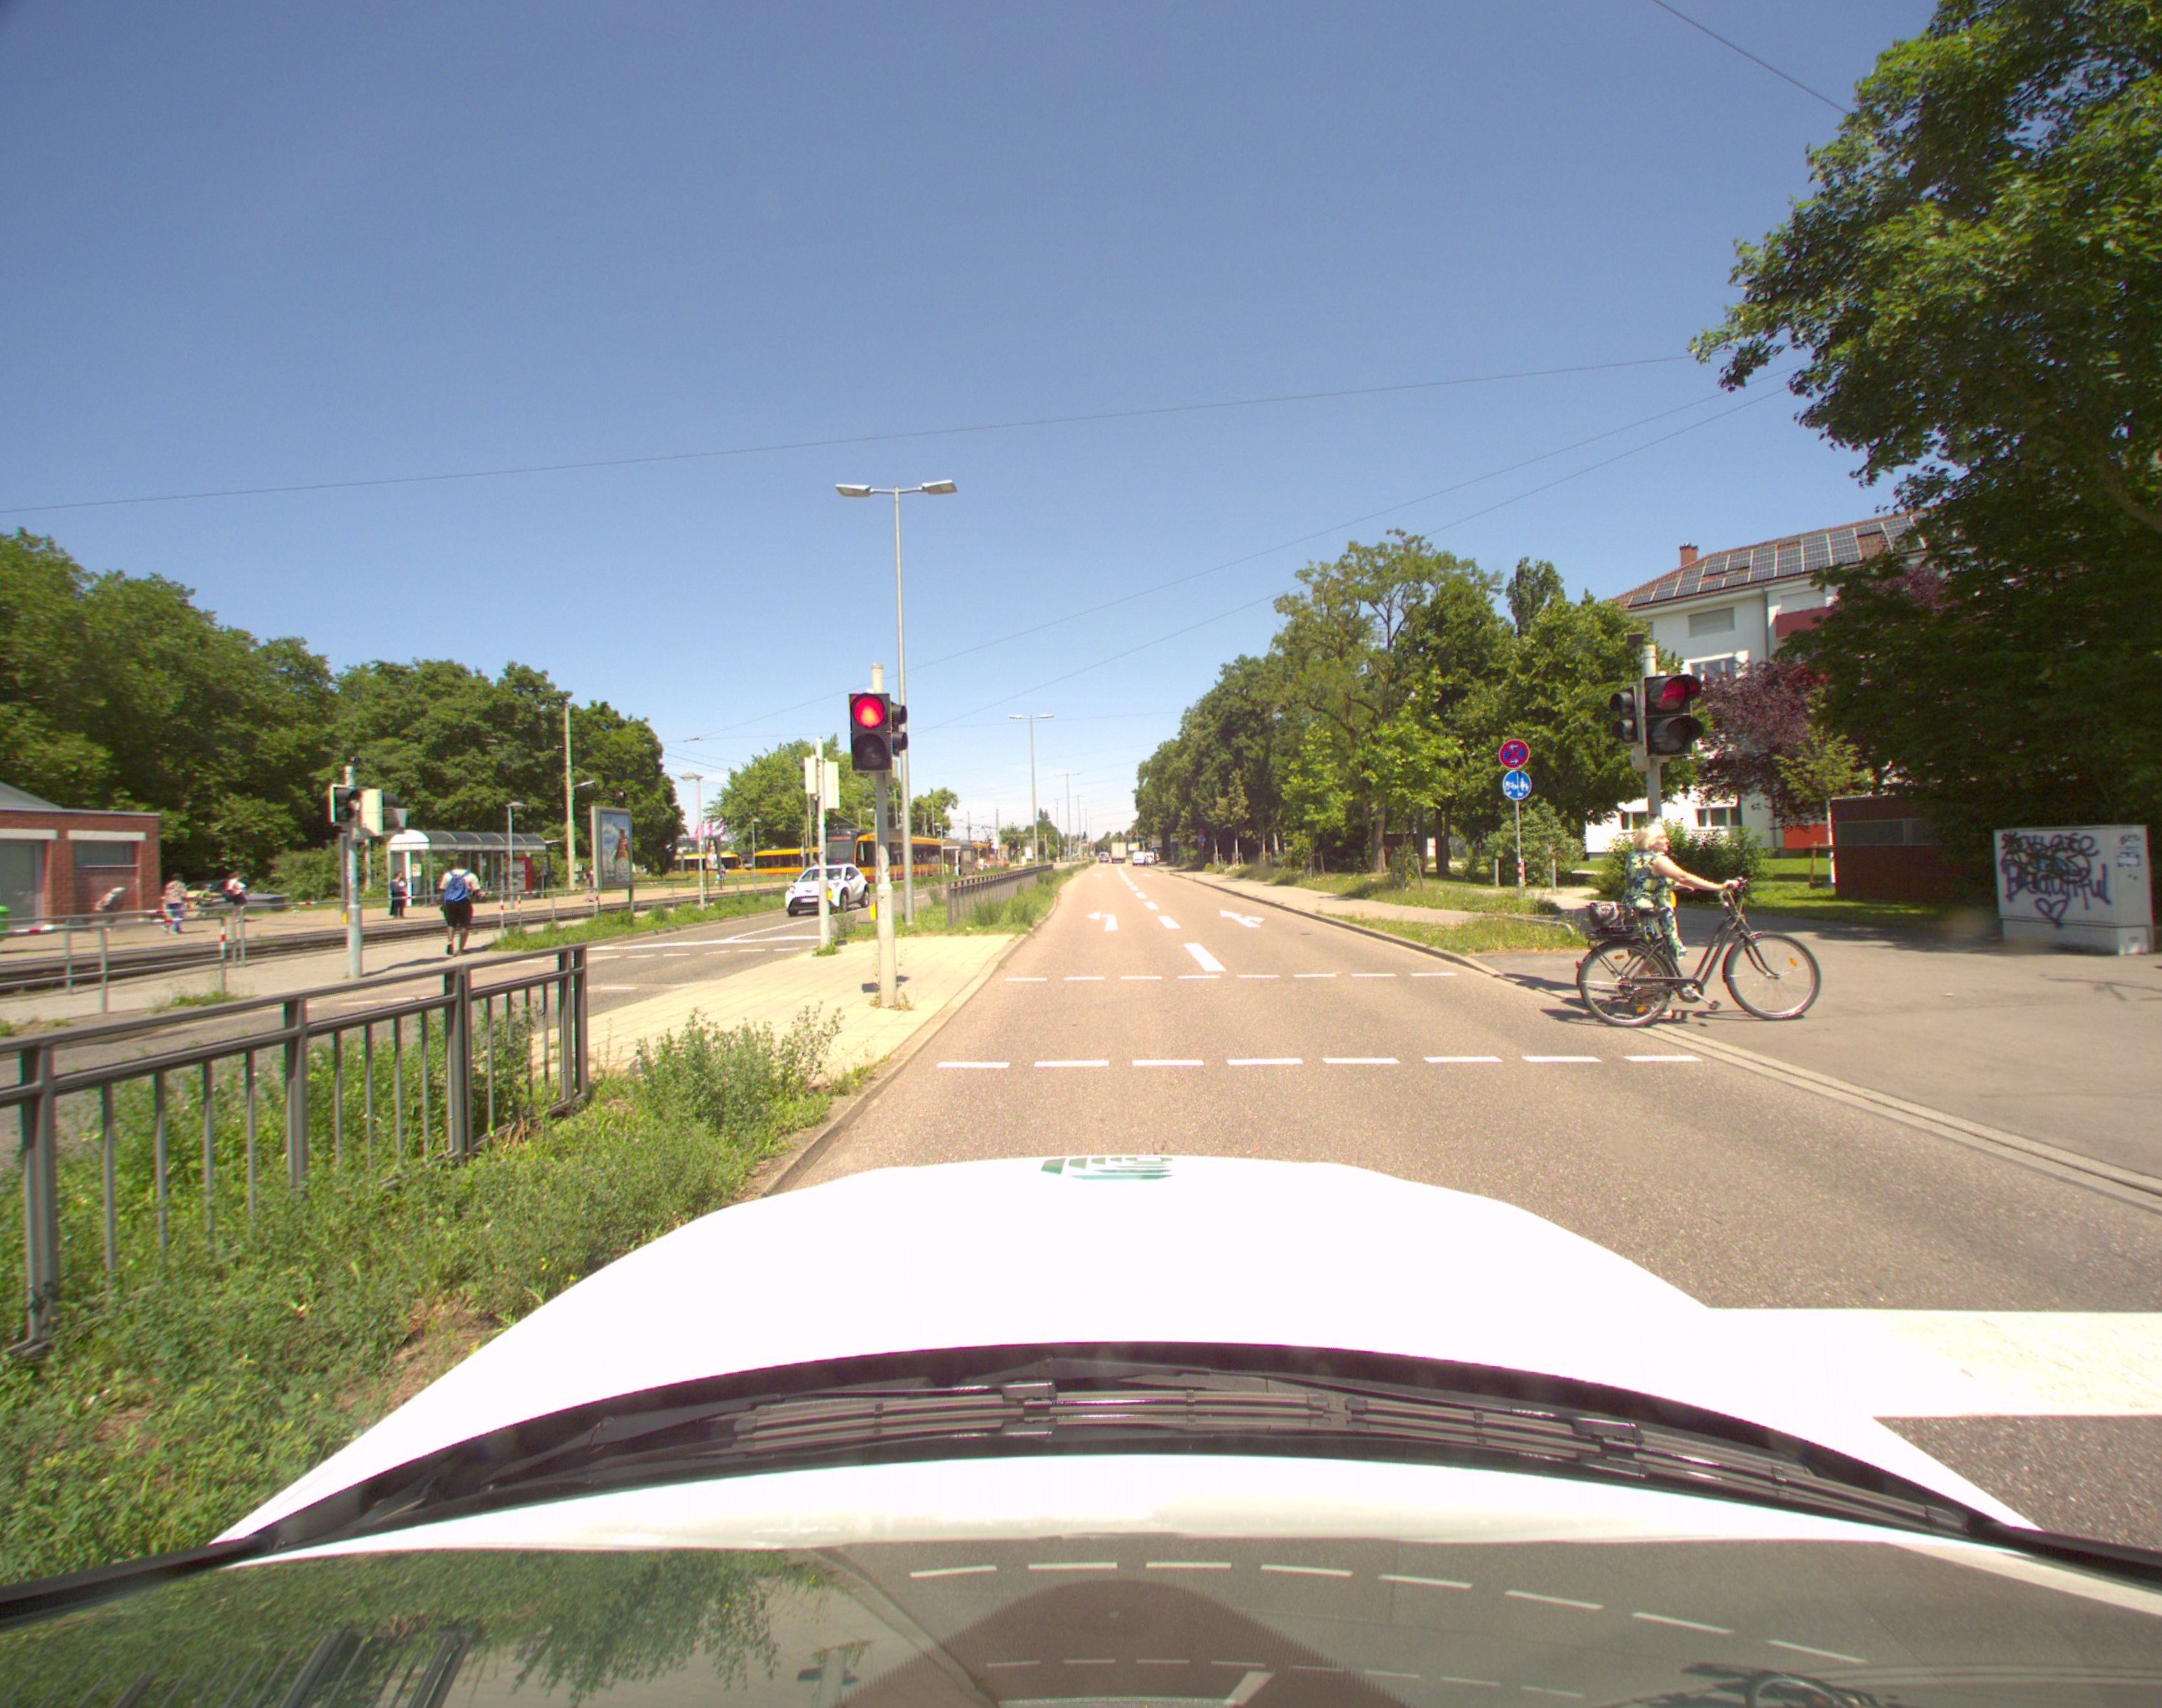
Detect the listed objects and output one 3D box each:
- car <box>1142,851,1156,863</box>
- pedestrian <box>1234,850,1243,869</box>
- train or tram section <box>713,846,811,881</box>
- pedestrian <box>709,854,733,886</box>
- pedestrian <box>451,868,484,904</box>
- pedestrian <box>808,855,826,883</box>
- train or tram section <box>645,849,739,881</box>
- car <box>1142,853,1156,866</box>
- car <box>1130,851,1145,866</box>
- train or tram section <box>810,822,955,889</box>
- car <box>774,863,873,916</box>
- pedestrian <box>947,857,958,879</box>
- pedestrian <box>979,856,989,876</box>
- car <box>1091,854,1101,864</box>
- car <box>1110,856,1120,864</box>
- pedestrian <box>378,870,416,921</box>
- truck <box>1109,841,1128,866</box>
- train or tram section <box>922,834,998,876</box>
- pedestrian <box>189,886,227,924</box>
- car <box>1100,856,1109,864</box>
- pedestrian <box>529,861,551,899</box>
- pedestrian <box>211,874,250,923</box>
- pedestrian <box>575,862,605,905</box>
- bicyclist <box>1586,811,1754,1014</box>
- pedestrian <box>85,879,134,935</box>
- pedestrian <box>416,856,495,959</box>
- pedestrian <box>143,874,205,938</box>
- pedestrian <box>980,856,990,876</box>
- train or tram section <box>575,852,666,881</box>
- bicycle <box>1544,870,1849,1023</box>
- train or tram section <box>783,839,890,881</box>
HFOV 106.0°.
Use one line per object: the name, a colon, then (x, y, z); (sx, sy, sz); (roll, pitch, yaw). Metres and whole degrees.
car: (9.895, 0.460, 118.762); (1.773, 1.668, 4.002); (-2, 0, 2)
pedestrian: (12.459, 0.426, 64.376); (0.600, 1.438, 0.557); (-2, 0, 8)
train or tram section: (-39.030, 1.279, 98.791); (18.264, 3.931, 3.246); (-2, 0, 42)
pedestrian: (-22.743, 0.998, 51.419); (0.977, 2.013, 1.021); (-2, 0, 1)
pedestrian: (-26.285, 1.375, 34.892); (0.836, 1.511, 0.723); (-2, 0, 12)
pedestrian: (-19.672, 1.105, 60.689); (0.977, 2.013, 1.021); (-2, 0, 1)
train or tram section: (-52.633, 1.524, 109.723); (18.259, 3.931, 3.247); (-2, 0, 37)
car: (9.375, 0.718, 112.421); (1.773, 1.668, 4.002); (-2, 0, 2)
car: (7.287, 0.562, 105.539); (1.773, 1.903, 4.002); (-2, 0, 2)
train or tram section: (-13.683, 0.094, 61.552); (2.947, 3.749, 30.036); (-2, 0, 1)
car: (-8.107, 1.078, 26.006); (1.838, 1.494, 3.793); (-2, 0, 2)
pedestrian: (-10.985, 1.202, 69.727); (0.783, 1.868, 0.818); (-2, 0, 1)
pedestrian: (-10.138, 1.253, 85.364); (0.812, 2.013, 0.939); (-2, 0, 1)
car: (3.307, 1.095, 175.331); (1.986, 2.013, 4.002); (-2, 0, 2)
car: (6.470, 1.144, 153.688); (1.804, 1.464, 4.002); (-2, 0, 2)
pedestrian: (-21.542, 1.294, 25.660); (0.635, 1.555, 0.691); (-2, 0, -11)
truck: (6.760, -0.083, 146.193); (3.193, 4.359, 6.563); (-2, 0, 2)
train or tram section: (-13.010, 0.096, 93.001); (2.920, 3.789, 33.094); (-2, 0, 1)
pedestrian: (-27.056, 1.571, 25.243); (0.634, 1.124, 0.572); (-2, 0, 16)
car: (4.541, 1.171, 158.005); (1.804, 1.464, 4.002); (-2, 0, 2)
pedestrian: (-25.773, 1.230, 38.770); (0.725, 1.800, 0.835); (-1, -1, -41)
pedestrian: (-25.847, 1.346, 24.752); (0.634, 1.456, 0.585); (-2, 0, 16)
pedestrian: (-21.217, 1.253, 35.181); (0.715, 1.777, 0.843); (3, 2, 1)
bicyclist: (5.139, 0.504, 7.164); (0.951, 1.667, 0.582); (-3, -1, 11)
pedestrian: (-26.679, 1.441, 22.379); (0.636, 1.480, 0.570); (-2, 0, 1)
pedestrian: (-11.501, 0.967, 14.987); (0.837, 1.777, 0.720); (3, 2, 1)
pedestrian: (-23.612, 1.345, 21.221); (0.669, 1.590, 0.808); (-2, 0, 1)
pedestrian: (-9.918, 1.241, 84.064); (0.812, 2.013, 0.939); (-2, 0, 1)
train or tram section: (-68.336, 1.925, 120.557); (18.260, 3.931, 3.247); (-2, 0, 32)
bicycle: (5.091, 0.769, 6.851); (1.945, 1.161, 0.543); (-3, -1, 11)
train or tram section: (-26.094, 0.736, 85.530); (3.244, 3.931, 18.276); (-1, 0, -42)
